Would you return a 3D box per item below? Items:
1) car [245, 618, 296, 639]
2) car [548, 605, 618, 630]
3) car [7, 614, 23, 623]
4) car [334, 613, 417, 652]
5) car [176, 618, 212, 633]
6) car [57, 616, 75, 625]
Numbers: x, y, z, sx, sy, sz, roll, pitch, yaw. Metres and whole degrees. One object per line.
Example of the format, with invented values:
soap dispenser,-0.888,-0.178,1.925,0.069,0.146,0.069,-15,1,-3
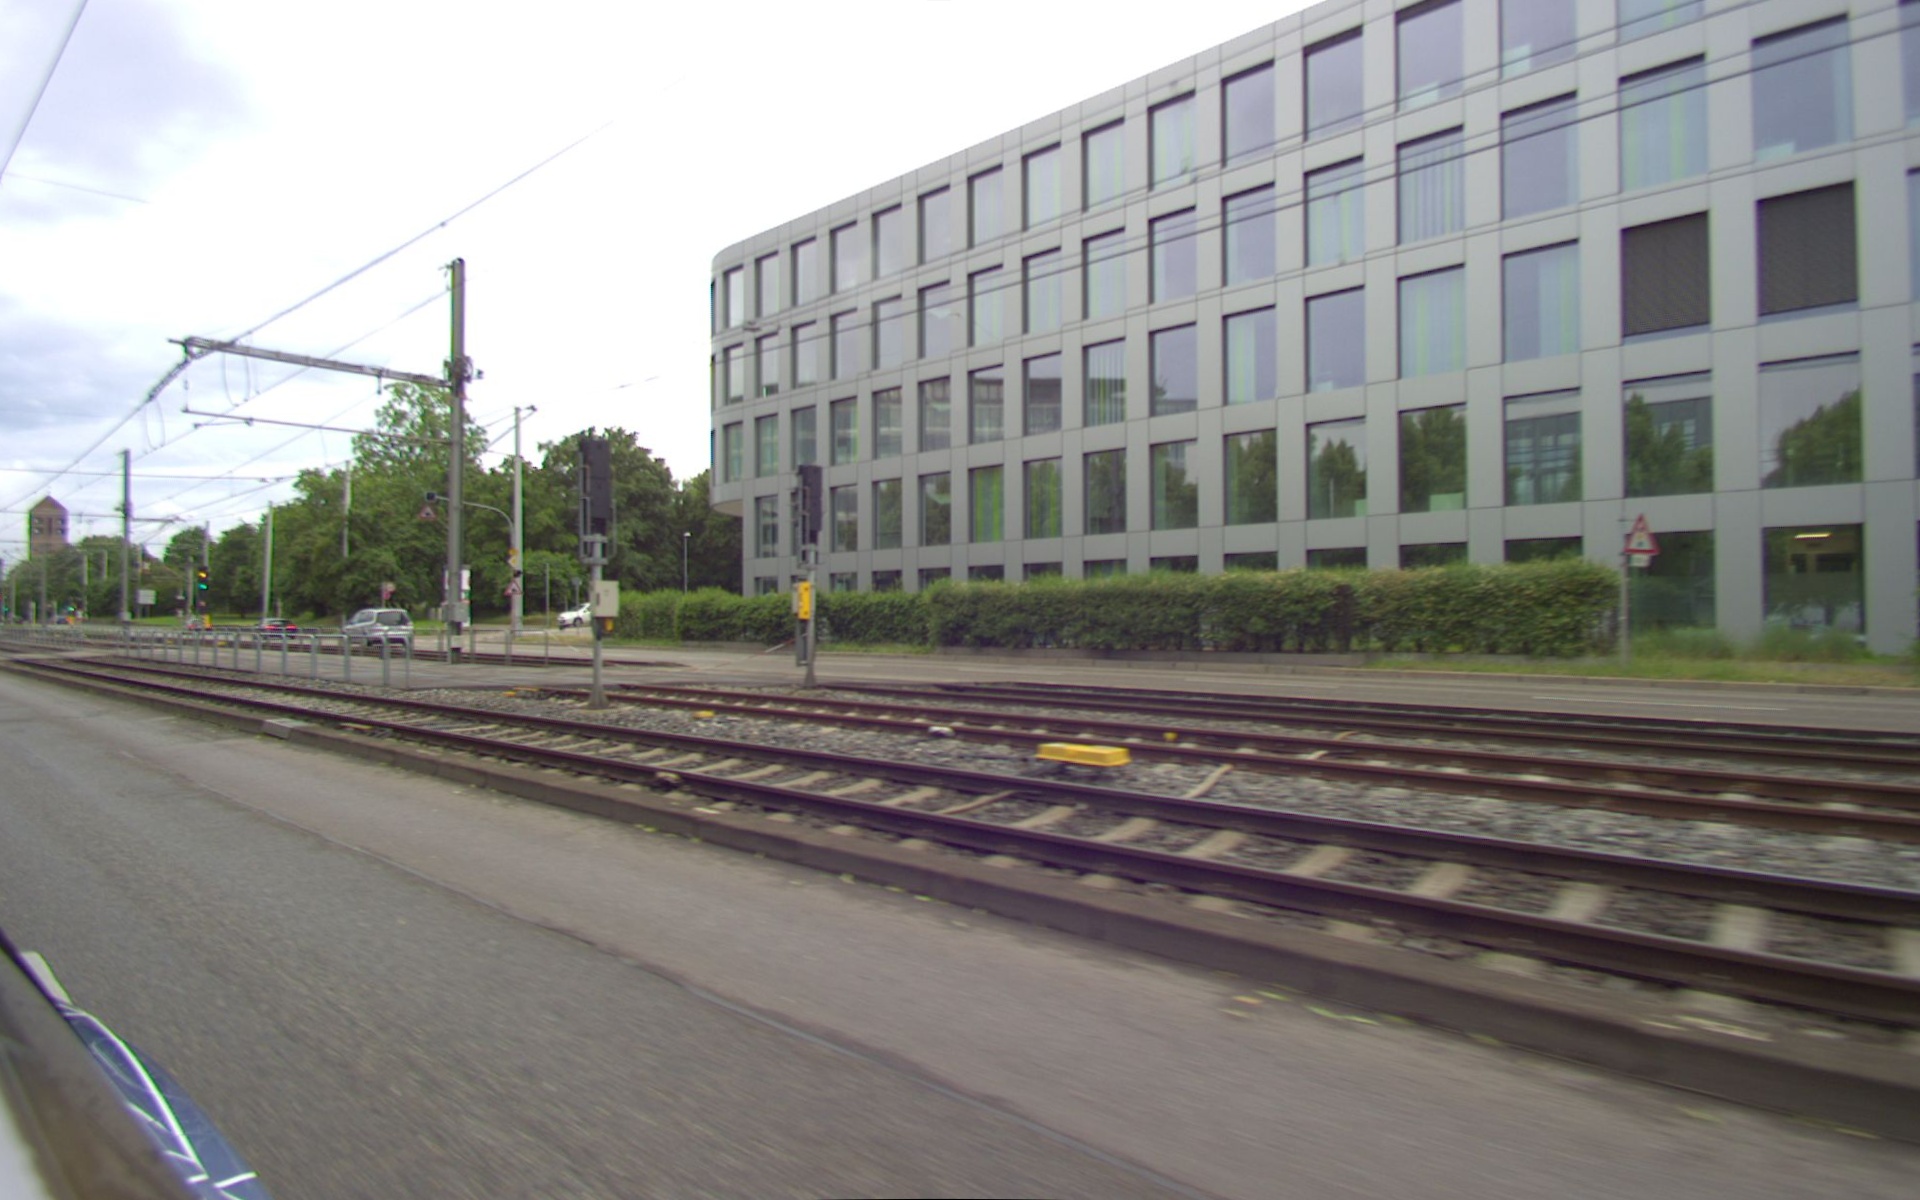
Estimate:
car,-46.171,1.907,67.732,4.257,1.357,1.779,-1,-1,41
car,-25.065,1.146,67.390,1.923,1.464,3.882,-1,2,39
car,-173.070,3.466,185.292,4.848,1.607,1.926,-1,-1,44
car,-26.271,1.410,45.417,4.883,1.657,1.882,-1,-1,42
car,-67.139,2.255,88.718,3.986,1.253,1.738,-1,-1,41
car,-135.836,3.151,153.714,3.901,1.408,1.741,-1,-1,44
